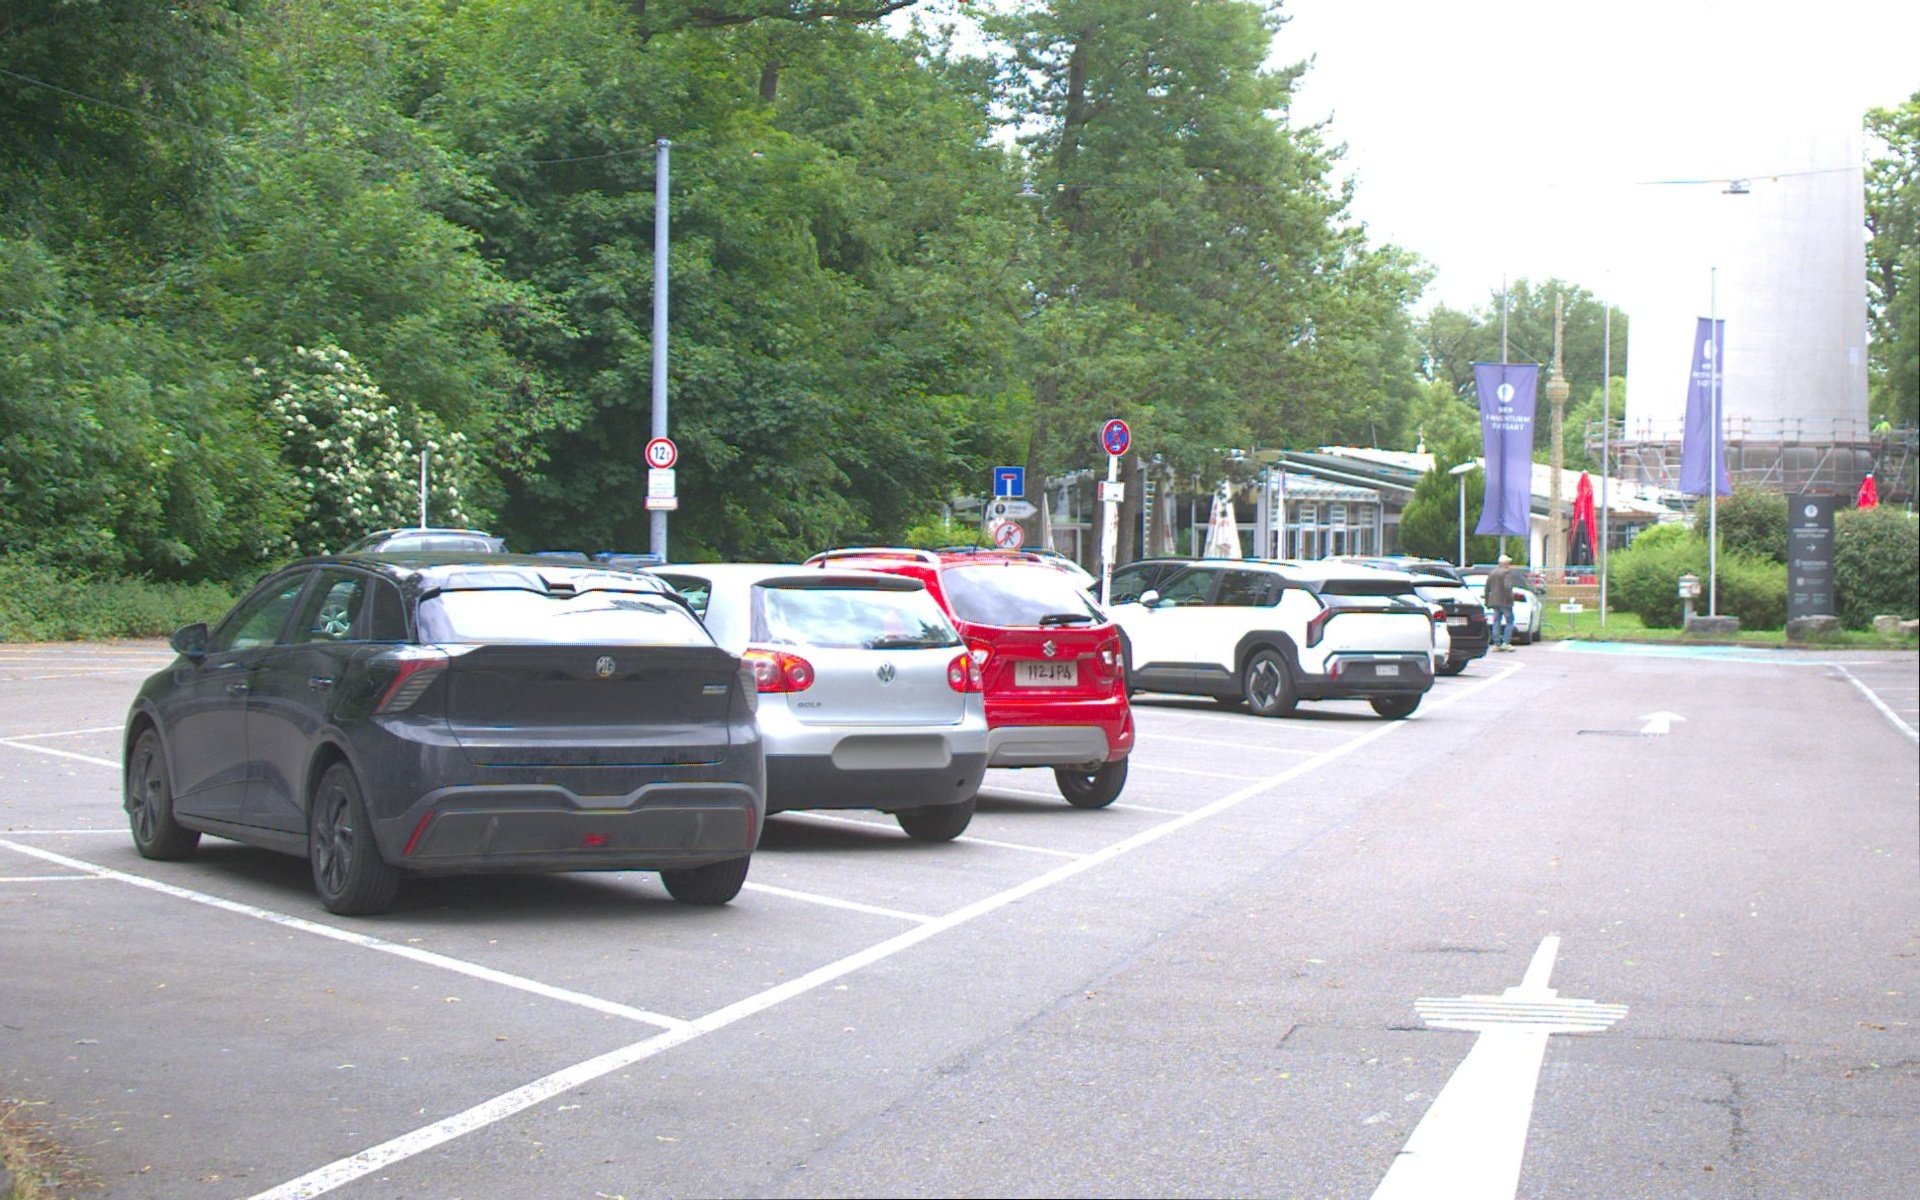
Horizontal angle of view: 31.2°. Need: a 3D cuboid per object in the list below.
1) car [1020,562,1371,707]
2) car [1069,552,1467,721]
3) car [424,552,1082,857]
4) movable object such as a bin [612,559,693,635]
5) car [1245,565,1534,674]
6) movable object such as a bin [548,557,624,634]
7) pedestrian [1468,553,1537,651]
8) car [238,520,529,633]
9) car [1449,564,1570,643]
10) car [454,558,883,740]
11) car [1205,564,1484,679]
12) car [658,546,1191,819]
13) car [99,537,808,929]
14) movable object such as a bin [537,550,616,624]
[{"bbox_3d":[2.706,0.372,40.261,1.867,1.549,3.999,0,1,-38],"label":"car"},{"bbox_3d":[3.110,0.336,35.558,1.841,1.591,4.190,1,1,-34],"label":"car"},{"bbox_3d":[-1.269,0.515,19.307,1.871,1.478,4.000,1,1,-34],"label":"car"},{"bbox_3d":[-5.440,-0.058,60.720,1.168,1.303,1.314,1,1,-16],"label":"movable object such as a bin"},{"bbox_3d":[6.143,0.261,49.634,1.754,1.438,4.278,1,1,-33],"label":"car"},{"bbox_3d":[-6.571,-0.083,60.330,1.123,1.310,1.185,1,1,-16],"label":"movable object such as a bin"},{"bbox_3d":[9.628,0.033,60.983,0.894,1.719,0.764,1,1,-25],"label":"pedestrian"},{"bbox_3d":[-9.050,-0.366,54.019,4.058,1.679,1.880,1,1,-30],"label":"car"},{"bbox_3d":[10.543,0.048,65.744,1.894,1.423,3.997,1,1,14],"label":"car"},{"bbox_3d":[-2.655,0.390,30.377,1.863,1.437,4.316,1,1,-35],"label":"car"},{"bbox_3d":[5.181,0.277,46.781,1.767,1.438,3.846,1,1,-31],"label":"car"},{"bbox_3d":[-0.313,0.475,22.329,1.681,1.580,3.654,1,1,-35],"label":"car"},{"bbox_3d":[-2.445,0.503,15.644,1.824,1.518,4.101,1,0,-29],"label":"car"},{"bbox_3d":[-6.943,-0.236,62.309,1.124,1.315,1.240,1,1,9],"label":"movable object such as a bin"}]
